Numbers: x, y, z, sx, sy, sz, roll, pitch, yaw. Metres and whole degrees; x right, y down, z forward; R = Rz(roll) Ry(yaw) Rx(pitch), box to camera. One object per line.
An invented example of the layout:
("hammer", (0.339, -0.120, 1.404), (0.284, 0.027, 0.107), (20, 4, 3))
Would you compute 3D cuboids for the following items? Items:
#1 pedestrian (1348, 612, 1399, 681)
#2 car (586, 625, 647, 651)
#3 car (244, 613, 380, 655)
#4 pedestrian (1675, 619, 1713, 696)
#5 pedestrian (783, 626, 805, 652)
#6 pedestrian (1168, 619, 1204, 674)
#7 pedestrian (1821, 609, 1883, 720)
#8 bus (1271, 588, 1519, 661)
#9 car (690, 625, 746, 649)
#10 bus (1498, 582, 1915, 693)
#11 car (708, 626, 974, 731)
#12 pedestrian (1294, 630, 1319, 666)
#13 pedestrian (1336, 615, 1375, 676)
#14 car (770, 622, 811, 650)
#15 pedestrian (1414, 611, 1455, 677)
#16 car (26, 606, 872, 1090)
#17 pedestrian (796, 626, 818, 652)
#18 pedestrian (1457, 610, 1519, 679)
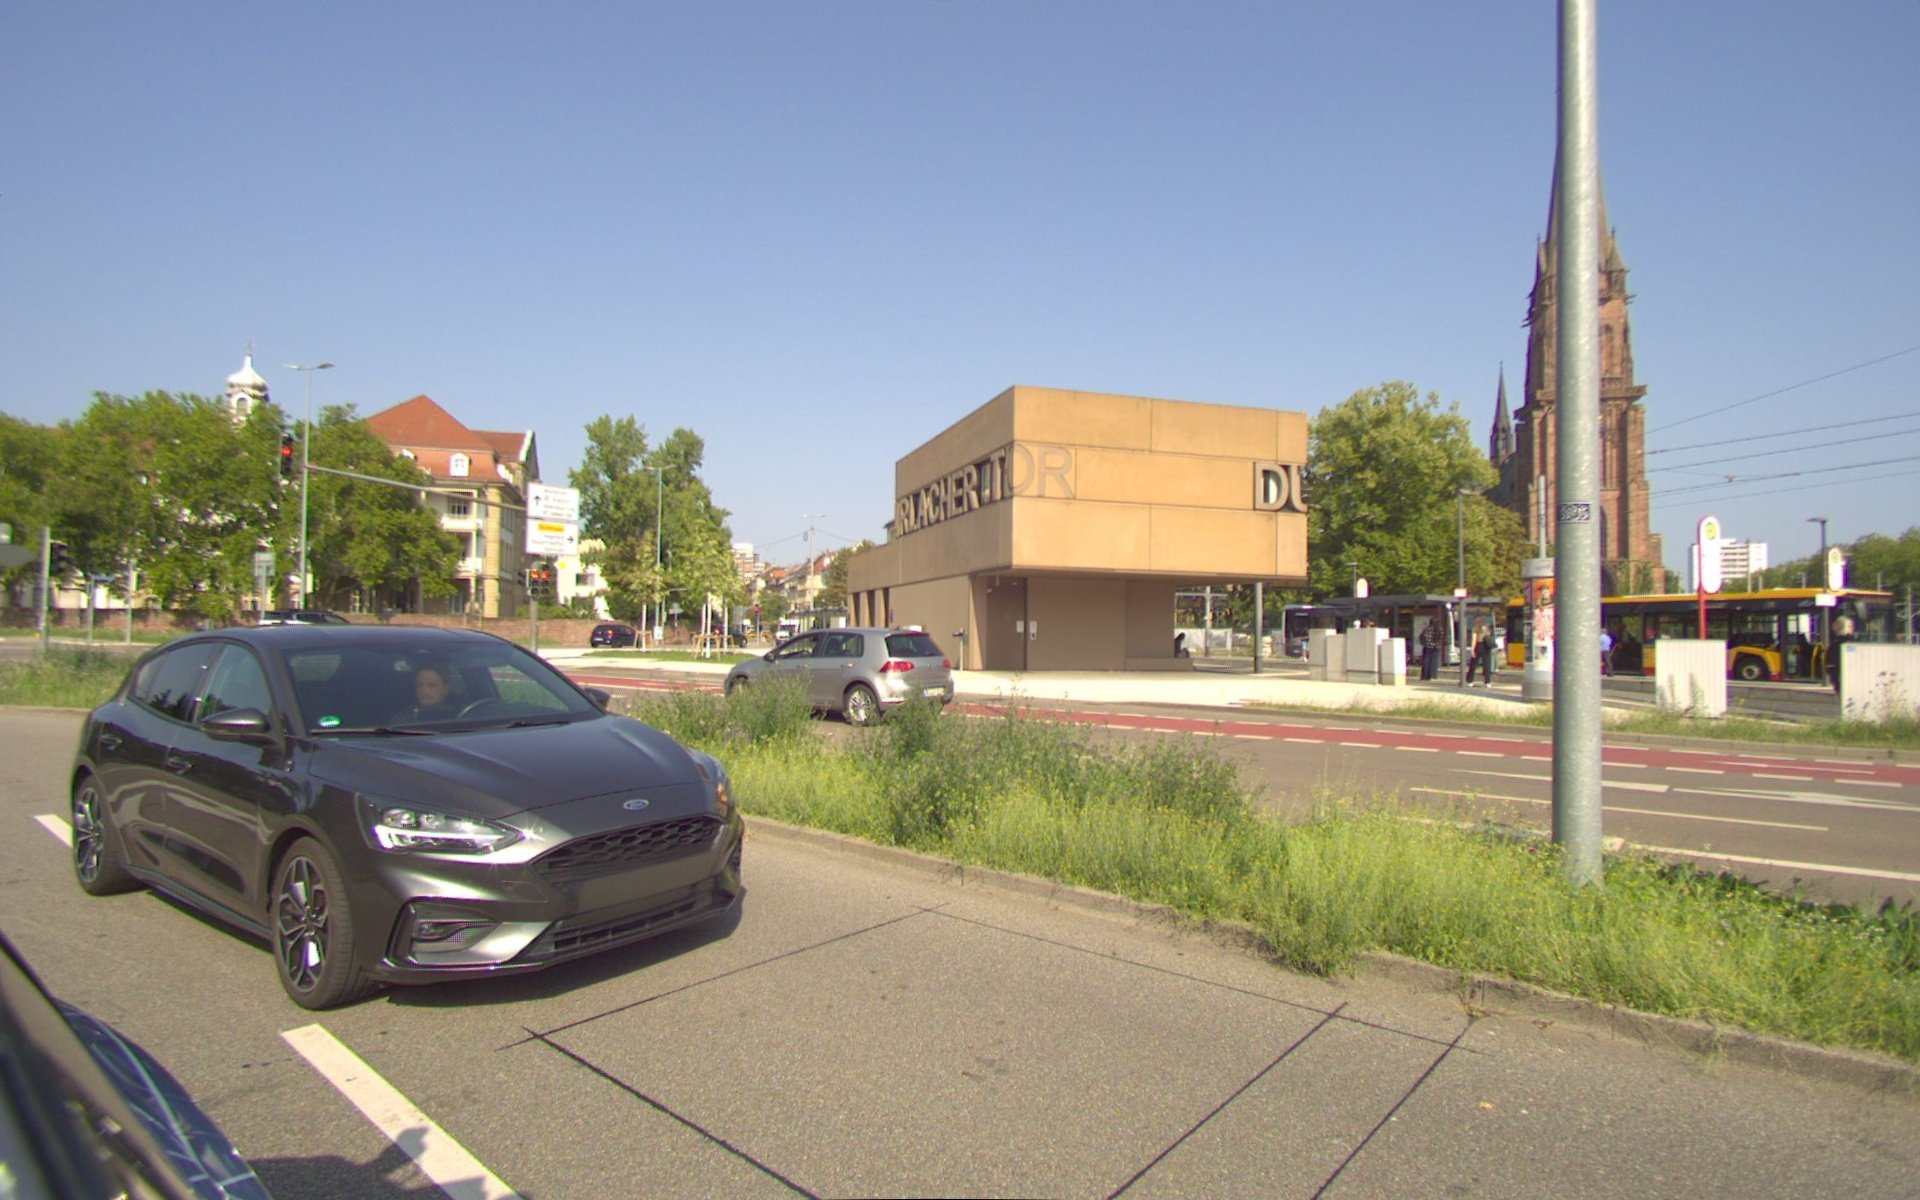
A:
("pedestrian", (10.890, 1.216, 26.647), (0.973, 1.783, 0.868), (2, -3, -36))
("car", (-20.761, 2.286, 61.258), (1.611, 1.509, 3.831), (0, -2, 15))
("car", (-26.957, 1.458, 42.219), (1.994, 1.646, 4.323), (-3, -4, 33))
("pedestrian", (17.835, 1.380, 24.585), (0.700, 1.814, 0.770), (-1, -3, 37))
("pedestrian", (-12.920, 3.026, 78.717), (1.204, 2.029, 1.333), (0, -3, 22))
("pedestrian", (7.277, 1.494, 32.601), (0.851, 1.718, 0.734), (1, -2, -21))
("pedestrian", (15.047, 1.073, 17.083), (0.700, 1.814, 0.770), (-1, -3, 37))
("bus", (19.954, 1.225, 48.087), (3.243, 3.000, 12.834), (1, -2, -17))
("car", (-17.508, 2.670, 73.397), (1.984, 1.646, 4.345), (0, -2, 19))
("bus", (24.414, 1.257, 34.638), (2.670, 3.132, 12.251), (1, -2, -17))
("car", (-1.989, 1.162, 16.240), (4.220, 1.444, 1.796), (-1, -2, 39))
("pedestrian", (16.850, 2.329, 49.228), (0.816, 1.719, 0.838), (1, -2, -24))
("pedestrian", (11.185, 1.269, 28.633), (0.863, 1.685, 0.979), (-1, -2, 32))
("car", (-16.157, 3.371, 96.768), (1.980, 2.470, 5.529), (-1, 0, 13))
("pedestrian", (12.669, 1.157, 27.009), (0.863, 1.718, 0.979), (-1, -2, 32))
("car", (-2.776, 0.788, 5.082), (4.538, 1.446, 1.817), (-1, -2, 34))
("pedestrian", (-12.151, 3.096, 80.319), (1.204, 2.029, 1.333), (0, -3, 22))
("pedestrian", (12.382, 1.039, 23.759), (0.852, 1.571, 0.992), (1, -2, -11))
